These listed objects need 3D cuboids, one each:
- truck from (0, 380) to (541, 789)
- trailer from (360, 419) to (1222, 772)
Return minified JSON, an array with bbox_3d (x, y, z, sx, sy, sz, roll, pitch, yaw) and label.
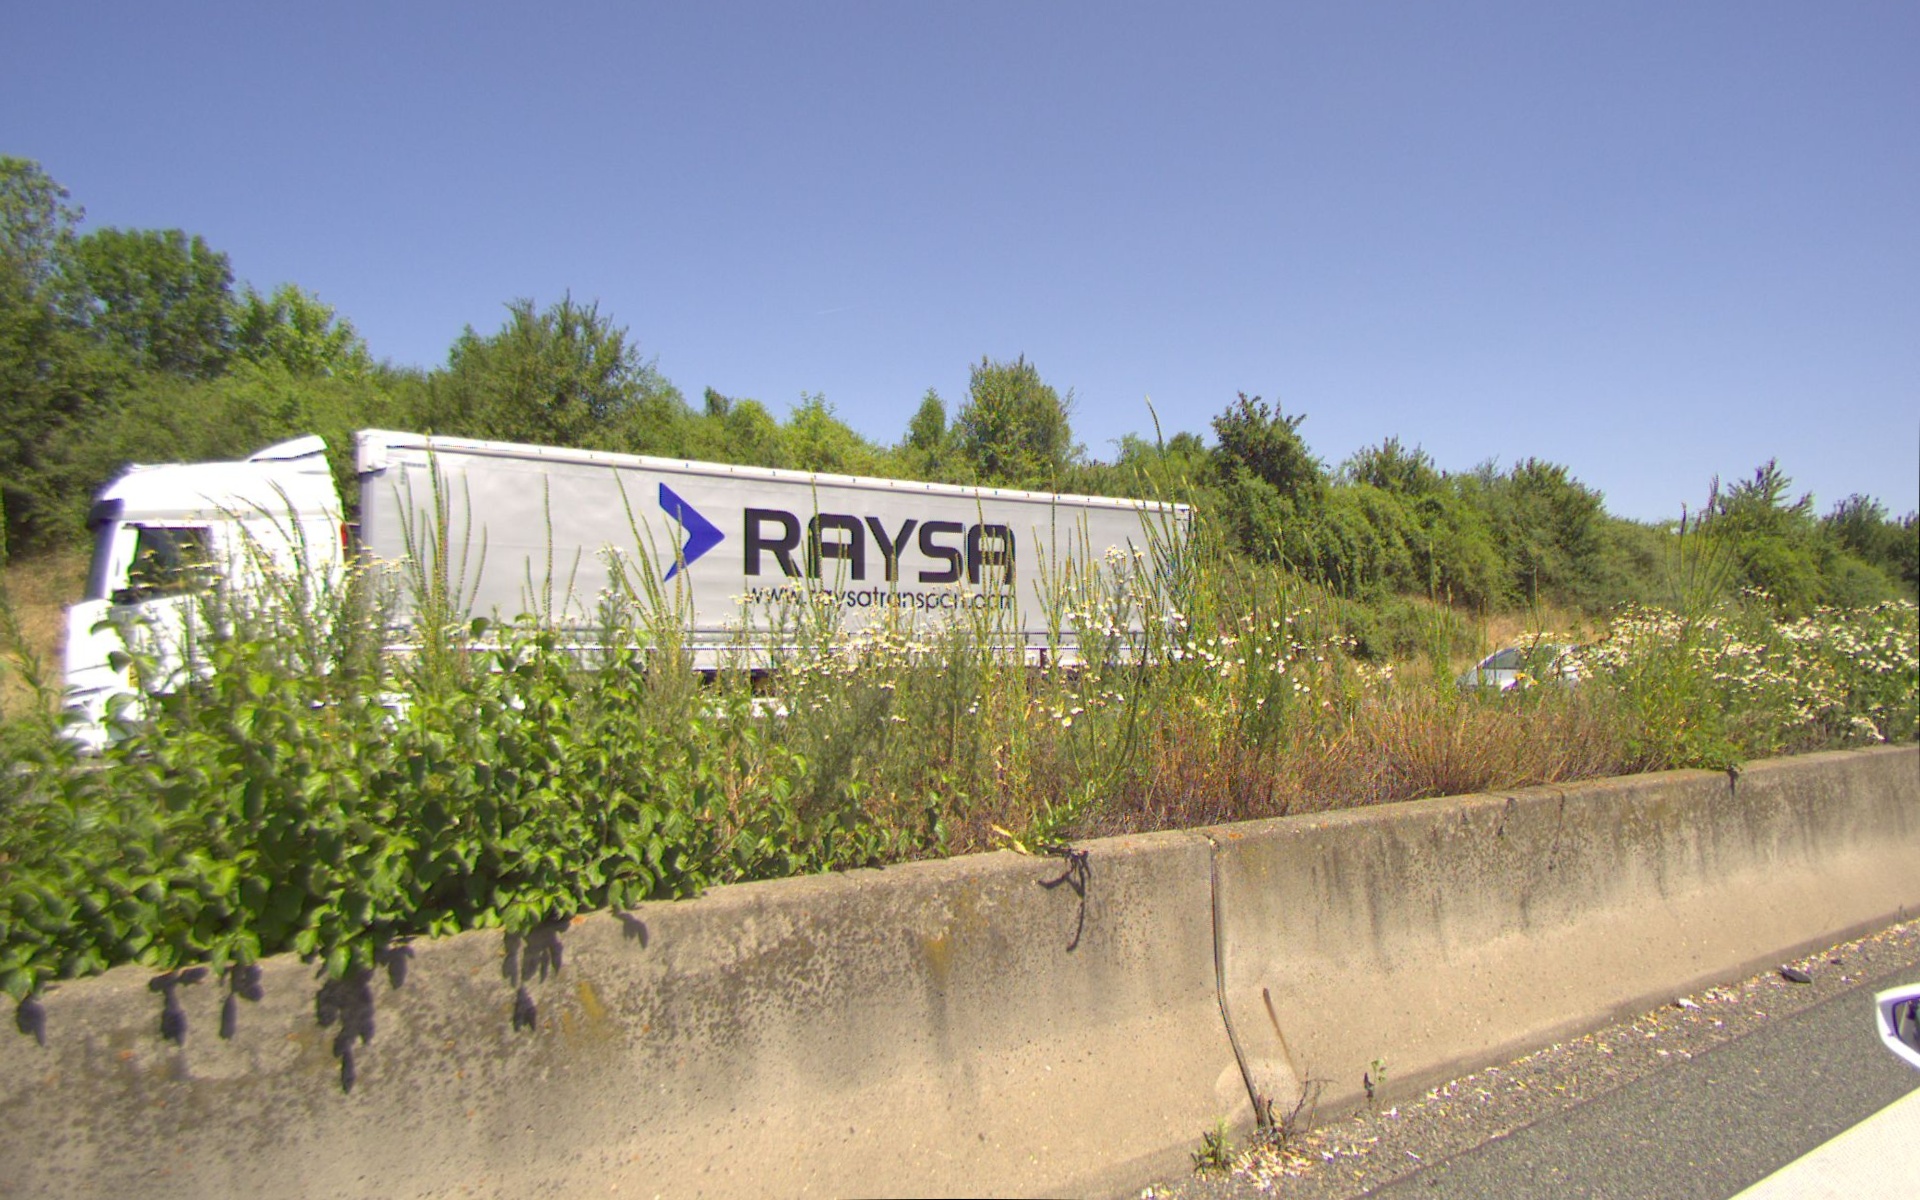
[{"bbox_3d":[-8.629,-0.021,12.800,5.736,4.220,3.004,1,-4,-30],"label":"truck"},{"bbox_3d":[-1.841,0.178,16.754,13.853,4.220,3.004,1,-4,-30],"label":"trailer"}]
